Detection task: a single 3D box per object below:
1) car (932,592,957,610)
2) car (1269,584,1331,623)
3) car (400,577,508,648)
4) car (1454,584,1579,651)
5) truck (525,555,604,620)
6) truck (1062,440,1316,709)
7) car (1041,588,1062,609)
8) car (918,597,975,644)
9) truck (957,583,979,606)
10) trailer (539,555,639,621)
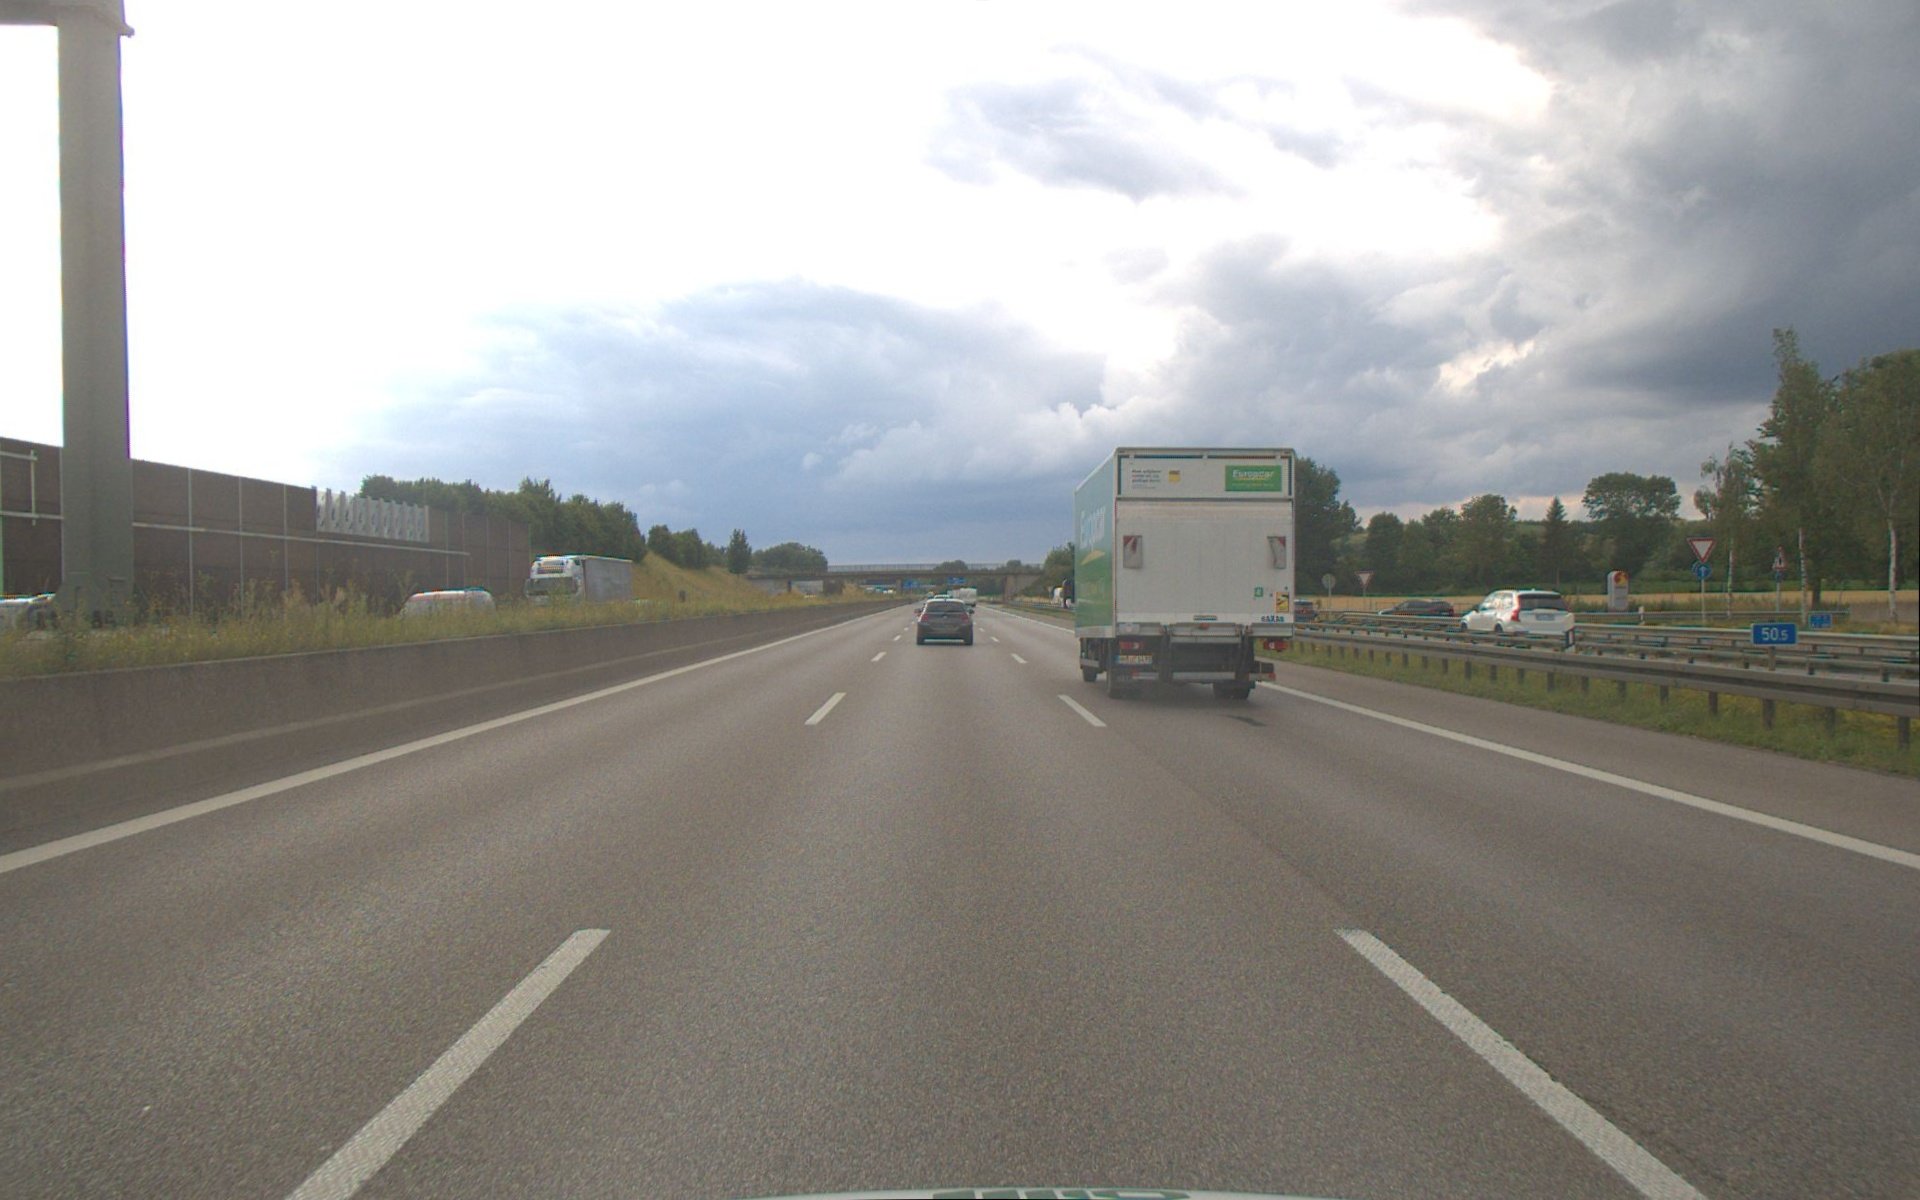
[{"bbox_3d":[-1.235,0.087,133.108,1.953,1.321,3.999,-1,0,-1],"label":"car"},{"bbox_3d":[15.938,0.148,77.768,1.791,1.787,5.064,-1,0,-1],"label":"car"},{"bbox_3d":[-13.064,0.321,42.862,1.678,1.725,3.706,1,0,-1],"label":"car"},{"bbox_3d":[15.800,0.457,47.210,1.791,1.787,5.064,-1,0,-1],"label":"car"},{"bbox_3d":[-20.791,-0.636,87.193,2.767,3.283,5.979,-1,0,-1],"label":"truck"},{"bbox_3d":[3.347,-0.356,26.705,2.714,3.566,9.060,1,0,-1],"label":"truck"},{"bbox_3d":[11.449,-0.140,207.593,2.176,2.613,6.255,0,0,-1],"label":"car"},{"bbox_3d":[-0.431,0.615,52.145,1.708,1.413,3.999,1,0,-1],"label":"car"},{"bbox_3d":[1.055,-0.750,228.592,2.655,3.016,12.444,1,0,-1],"label":"truck"},{"bbox_3d":[-20.879,-0.641,93.996,2.762,3.436,13.507,-1,0,-1],"label":"trailer"}]
